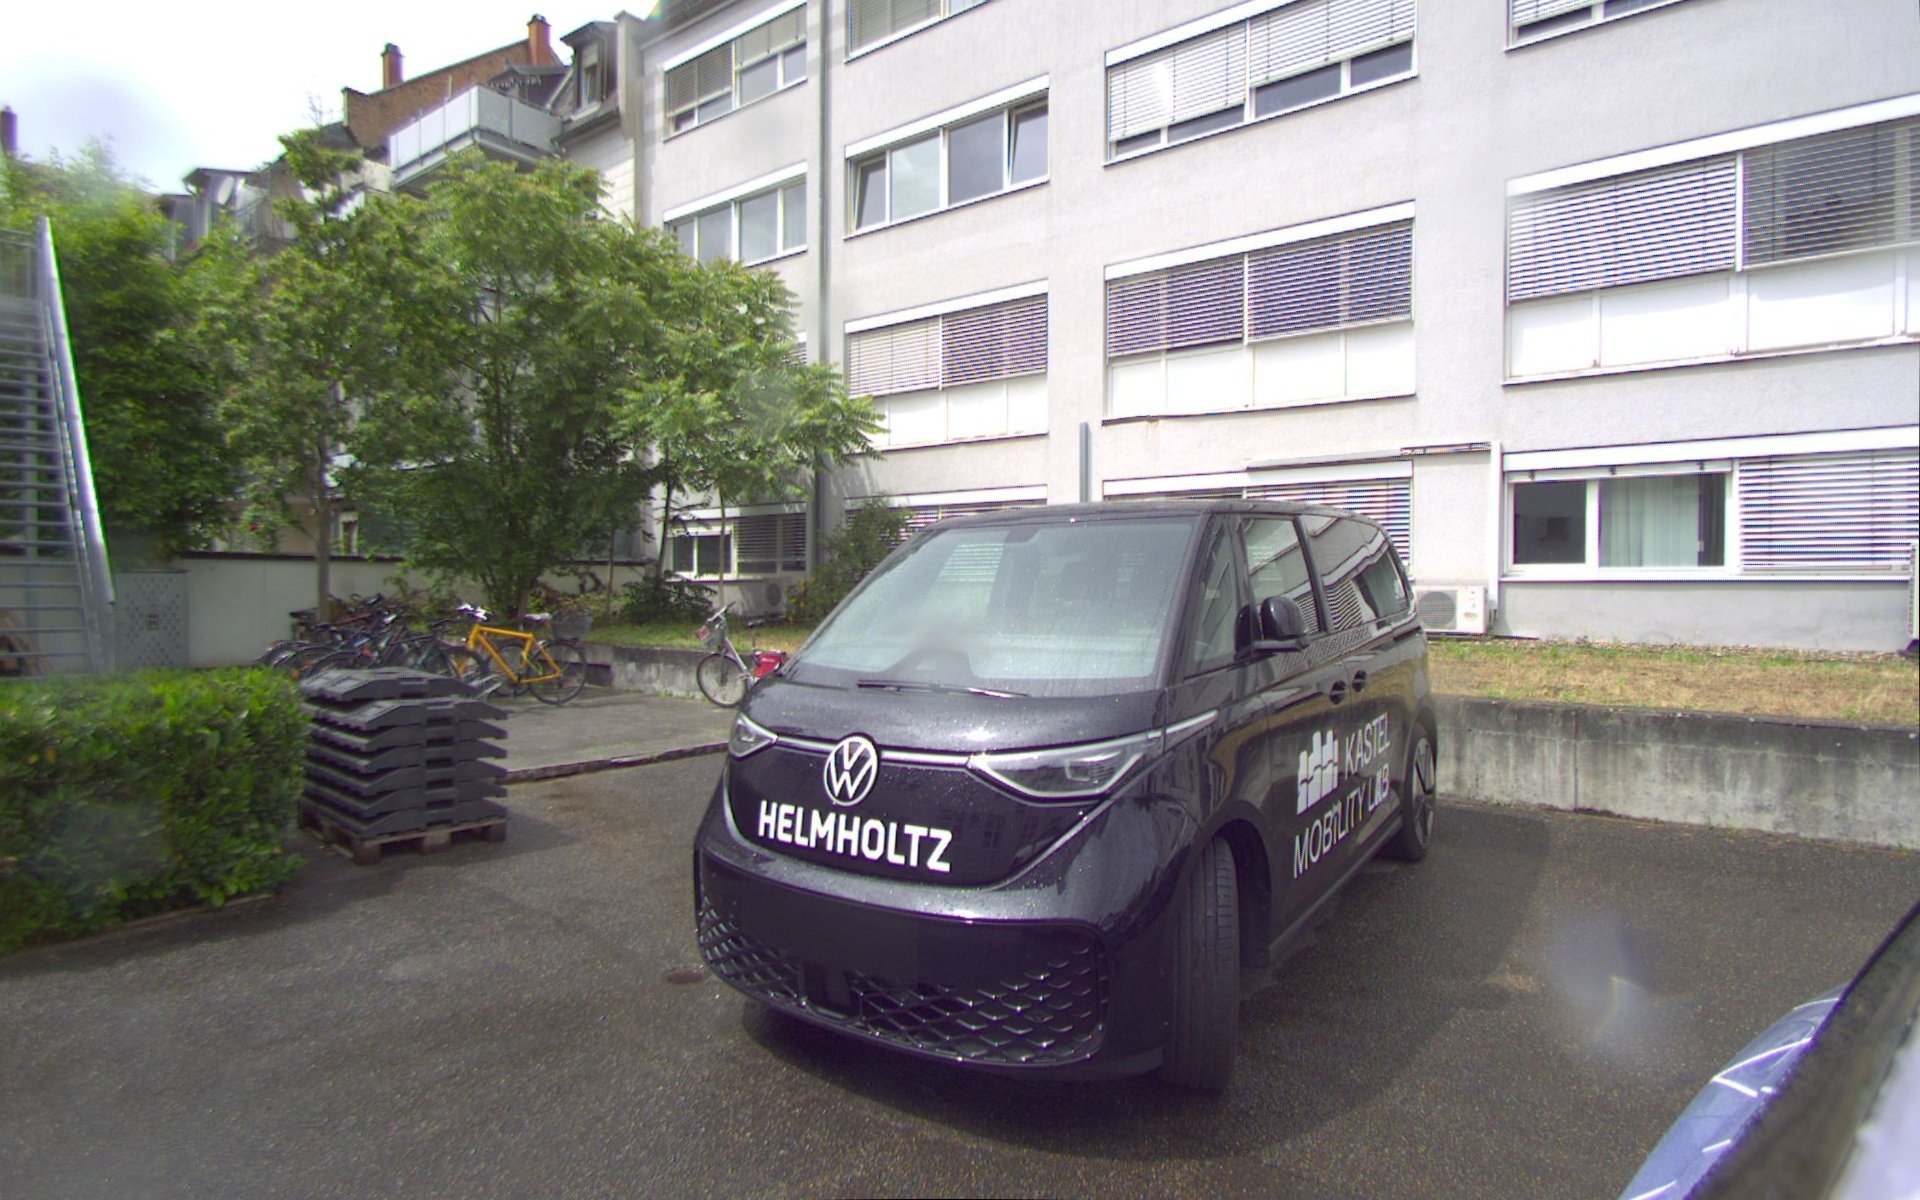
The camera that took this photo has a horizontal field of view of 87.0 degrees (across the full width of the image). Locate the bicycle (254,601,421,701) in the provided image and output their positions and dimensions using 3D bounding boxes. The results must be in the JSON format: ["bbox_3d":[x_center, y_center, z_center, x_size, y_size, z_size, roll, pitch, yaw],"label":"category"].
[{"bbox_3d":[-7.544,0.582,12.340,0.353,1.118,1.732,1,1,36],"label":"bicycle"}]

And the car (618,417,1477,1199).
[{"bbox_3d":[0.986,0.457,4.793,1.958,1.888,4.688,0,2,35],"label":"car"}]

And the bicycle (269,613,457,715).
[{"bbox_3d":[-6.435,0.658,11.006,0.328,0.979,1.773,1,1,36],"label":"bicycle"}]

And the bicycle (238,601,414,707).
[{"bbox_3d":[-7.326,0.586,11.772,0.344,1.118,1.732,1,1,36],"label":"bicycle"}]

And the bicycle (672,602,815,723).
[{"bbox_3d":[-2.277,0.608,10.524,1.789,1.117,0.440,1,3,41],"label":"bicycle"}]

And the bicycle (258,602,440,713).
[{"bbox_3d":[-6.713,0.589,11.203,0.331,1.118,1.732,1,1,36],"label":"bicycle"}]

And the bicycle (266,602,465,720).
[{"bbox_3d":[-6.164,0.592,10.580,0.353,1.118,1.768,1,1,44],"label":"bicycle"}]

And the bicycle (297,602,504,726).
[{"bbox_3d":[-5.527,0.593,10.086,0.404,1.118,1.768,1,1,44],"label":"bicycle"}]

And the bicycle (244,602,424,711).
[{"bbox_3d":[-7.005,0.589,11.408,0.341,1.118,1.732,1,1,36],"label":"bicycle"}]

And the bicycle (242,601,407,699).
[{"bbox_3d":[-7.827,0.582,12.548,0.340,1.118,1.732,1,1,36],"label":"bicycle"}]

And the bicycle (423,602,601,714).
[{"bbox_3d":[-4.826,0.587,11.003,0.366,1.118,1.768,1,1,44],"label":"bicycle"}]
